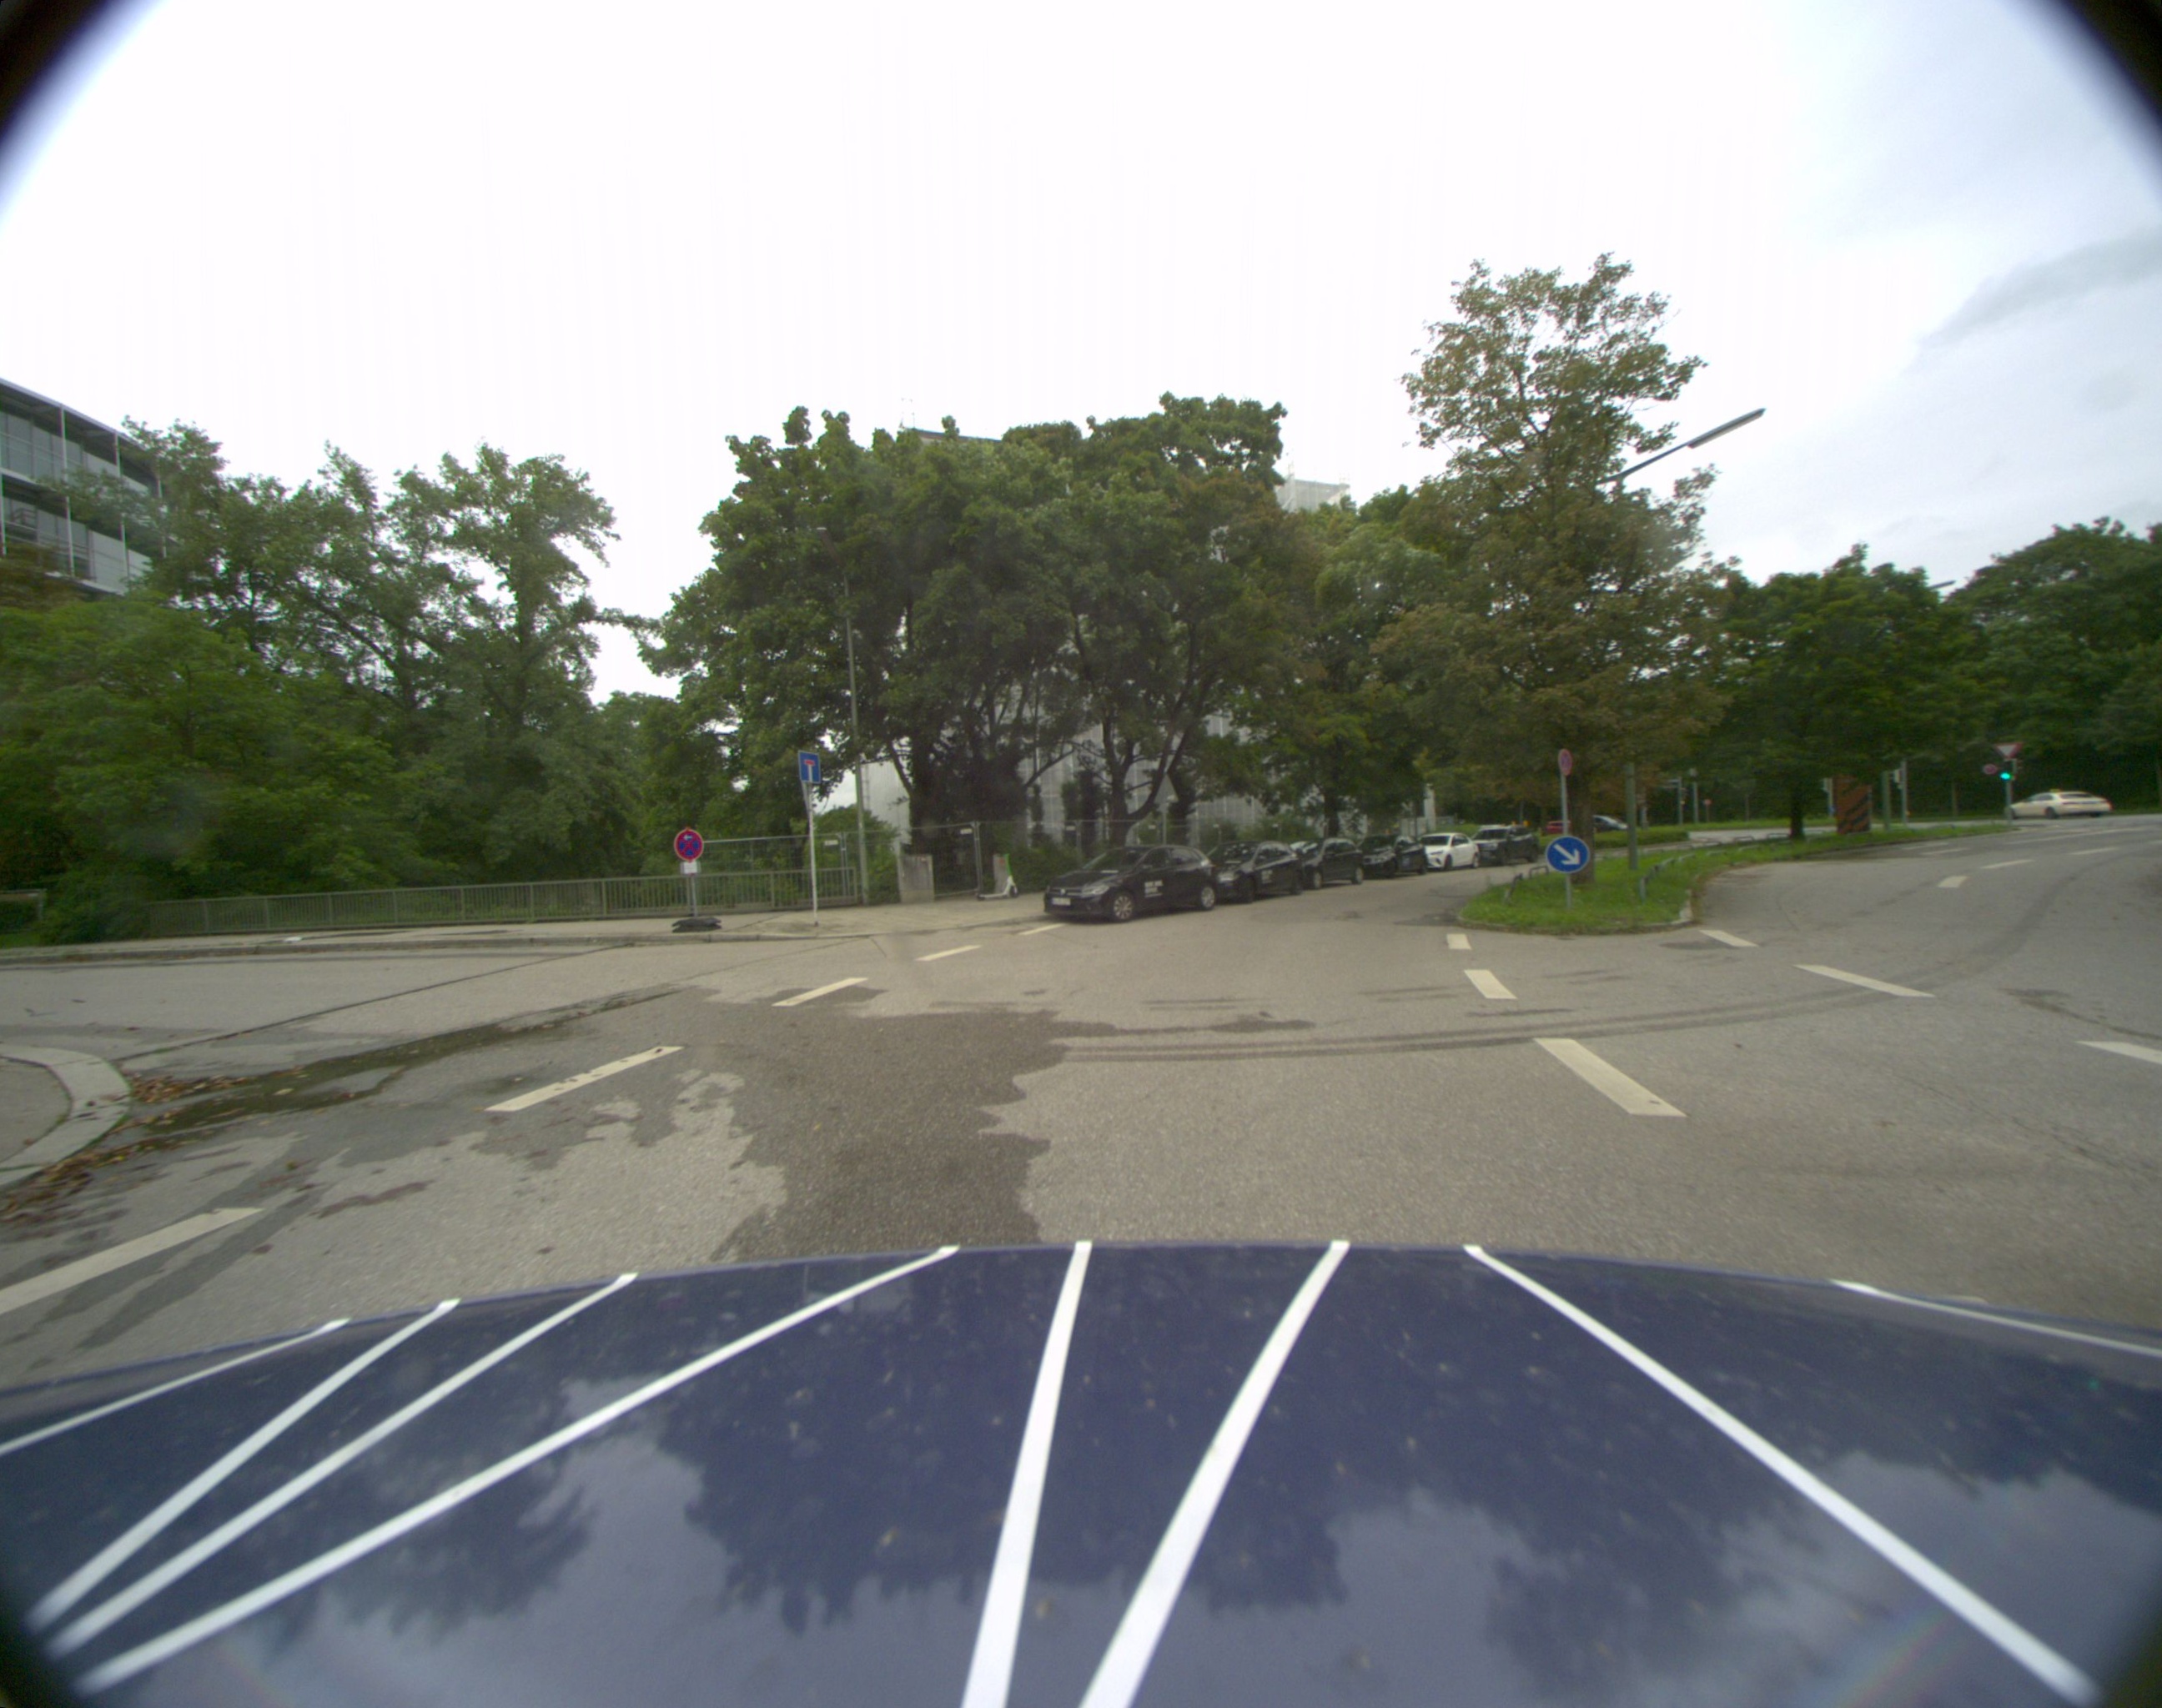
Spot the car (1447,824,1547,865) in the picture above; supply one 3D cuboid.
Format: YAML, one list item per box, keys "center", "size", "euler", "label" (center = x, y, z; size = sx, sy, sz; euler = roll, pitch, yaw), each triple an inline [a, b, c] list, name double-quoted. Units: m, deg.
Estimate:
- center: [17.436, -0.397, 31.774]
  size: [4.404, 1.596, 1.887]
  euler: [-1, 0, -35]
  label: "car"

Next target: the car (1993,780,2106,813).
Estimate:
- center: [53.793, -3.148, 42.346]
  size: [1.889, 1.536, 4.860]
  euler: [-2, 1, 25]
  label: "car"

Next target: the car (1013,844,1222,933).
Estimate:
- center: [0.845, 0.581, 15.391]
  size: [1.994, 1.425, 4.050]
  euler: [1, 3, 45]
  label: "car"

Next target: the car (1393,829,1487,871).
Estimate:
- center: [13.780, -0.178, 29.057]
  size: [4.226, 1.375, 1.797]
  euler: [-3, 1, -43]
  label: "car"

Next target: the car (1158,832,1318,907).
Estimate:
- center: [3.922, 0.315, 18.569]
  size: [1.994, 1.532, 4.007]
  euler: [-2, 1, 42]
  label: "car"

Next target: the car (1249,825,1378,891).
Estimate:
- center: [6.904, 0.046, 22.354]
  size: [1.994, 1.696, 4.007]
  euler: [0, 3, 44]
  label: "car"

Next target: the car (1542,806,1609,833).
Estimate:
- center: [40.236, -2.775, 61.919]
  size: [2.002, 2.002, 4.148]
  euler: [-3, 1, -27]
  label: "car"

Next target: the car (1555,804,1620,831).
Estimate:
- center: [42.310, -3.056, 63.584]
  size: [2.002, 2.002, 3.991]
  euler: [-3, 1, -27]
  label: "car"

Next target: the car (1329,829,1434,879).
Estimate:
- center: [10.185, -0.033, 25.596]
  size: [1.835, 1.452, 4.013]
  euler: [-2, 1, 44]
  label: "car"
